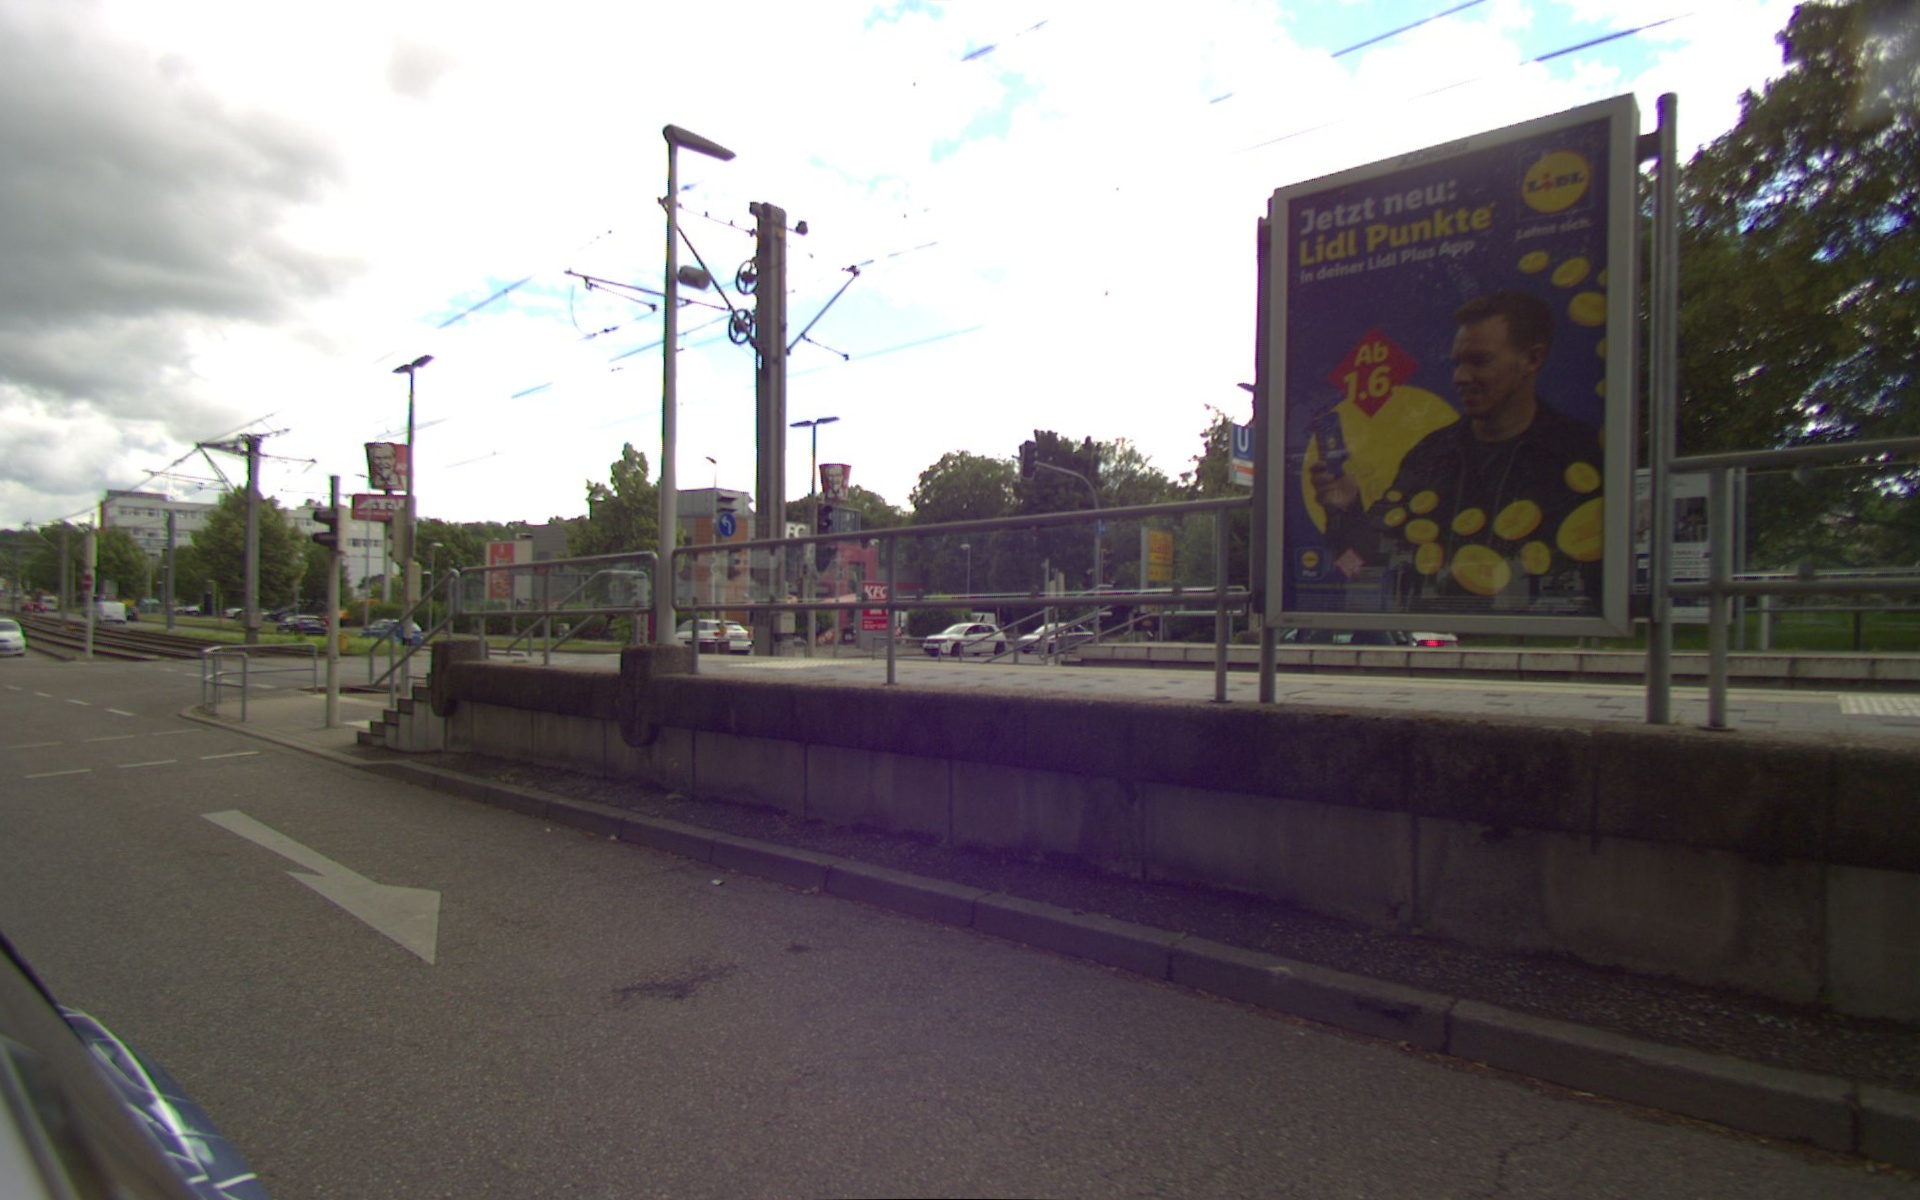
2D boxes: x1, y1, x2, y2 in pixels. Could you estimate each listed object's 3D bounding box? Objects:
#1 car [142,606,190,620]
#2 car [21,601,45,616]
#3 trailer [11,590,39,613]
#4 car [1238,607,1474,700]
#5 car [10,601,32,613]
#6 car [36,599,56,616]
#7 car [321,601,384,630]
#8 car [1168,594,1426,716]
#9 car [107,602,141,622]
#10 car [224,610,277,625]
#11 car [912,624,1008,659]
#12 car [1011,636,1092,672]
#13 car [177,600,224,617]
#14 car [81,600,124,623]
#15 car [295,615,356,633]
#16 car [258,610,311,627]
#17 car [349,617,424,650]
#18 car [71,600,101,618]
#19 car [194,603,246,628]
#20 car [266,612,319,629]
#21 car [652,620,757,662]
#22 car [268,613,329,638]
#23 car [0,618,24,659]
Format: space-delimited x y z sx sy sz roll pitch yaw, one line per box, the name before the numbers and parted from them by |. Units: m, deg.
car | -99.147 1.621 126.352 4.547 1.503 2.002 -2 2 -44
car | -133.907 1.189 146.205 3.996 2.029 1.974 0 -3 39
trailer | -173.834 0.304 188.081 14.428 3.926 2.641 0 -3 44
car | 8.382 1.069 21.657 4.397 1.764 1.692 0 -2 41
car | -142.354 1.052 153.412 4.477 1.594 1.766 0 -2 39
car | -149.041 1.223 164.987 5.999 2.518 1.848 0 -3 43
car | -49.303 1.228 82.214 2.059 2.182 3.944 0 1 43
car | 5.878 0.869 17.908 3.997 1.874 1.680 0 1 40
car | -87.546 1.288 105.944 4.103 2.029 1.974 0 -1 39
car | -77.468 1.884 110.548 1.794 1.518 4.425 0 1 40
car | 0.027 1.787 43.901 3.829 1.419 1.850 1 -1 -39
car | 4.372 2.529 47.880 1.846 1.564 3.945 0 -2 41
car | -91.722 0.998 122.263 4.294 1.933 2.002 -2 1 -44
car | -78.787 1.040 92.965 4.878 2.029 1.975 0 -2 38
car | -53.547 2.014 85.434 2.000 1.245 3.944 0 2 43
car | -66.788 1.813 100.077 2.002 1.518 3.944 0 1 43
car | -27.000 1.569 47.634 4.047 1.457 1.580 0 -2 37
car | -105.058 1.093 121.622 4.243 2.029 1.974 0 -1 39
car | -84.781 1.813 115.946 2.289 2.769 4.421 0 -2 43
car | -64.897 1.967 98.486 1.937 1.518 3.944 0 1 43
car | -9.498 1.506 37.491 3.994 1.457 1.670 0 -3 38
car | -42.118 1.653 64.436 4.502 1.493 1.973 -2 -4 40
car | -37.938 1.495 39.422 3.999 1.454 1.763 0 1 42
